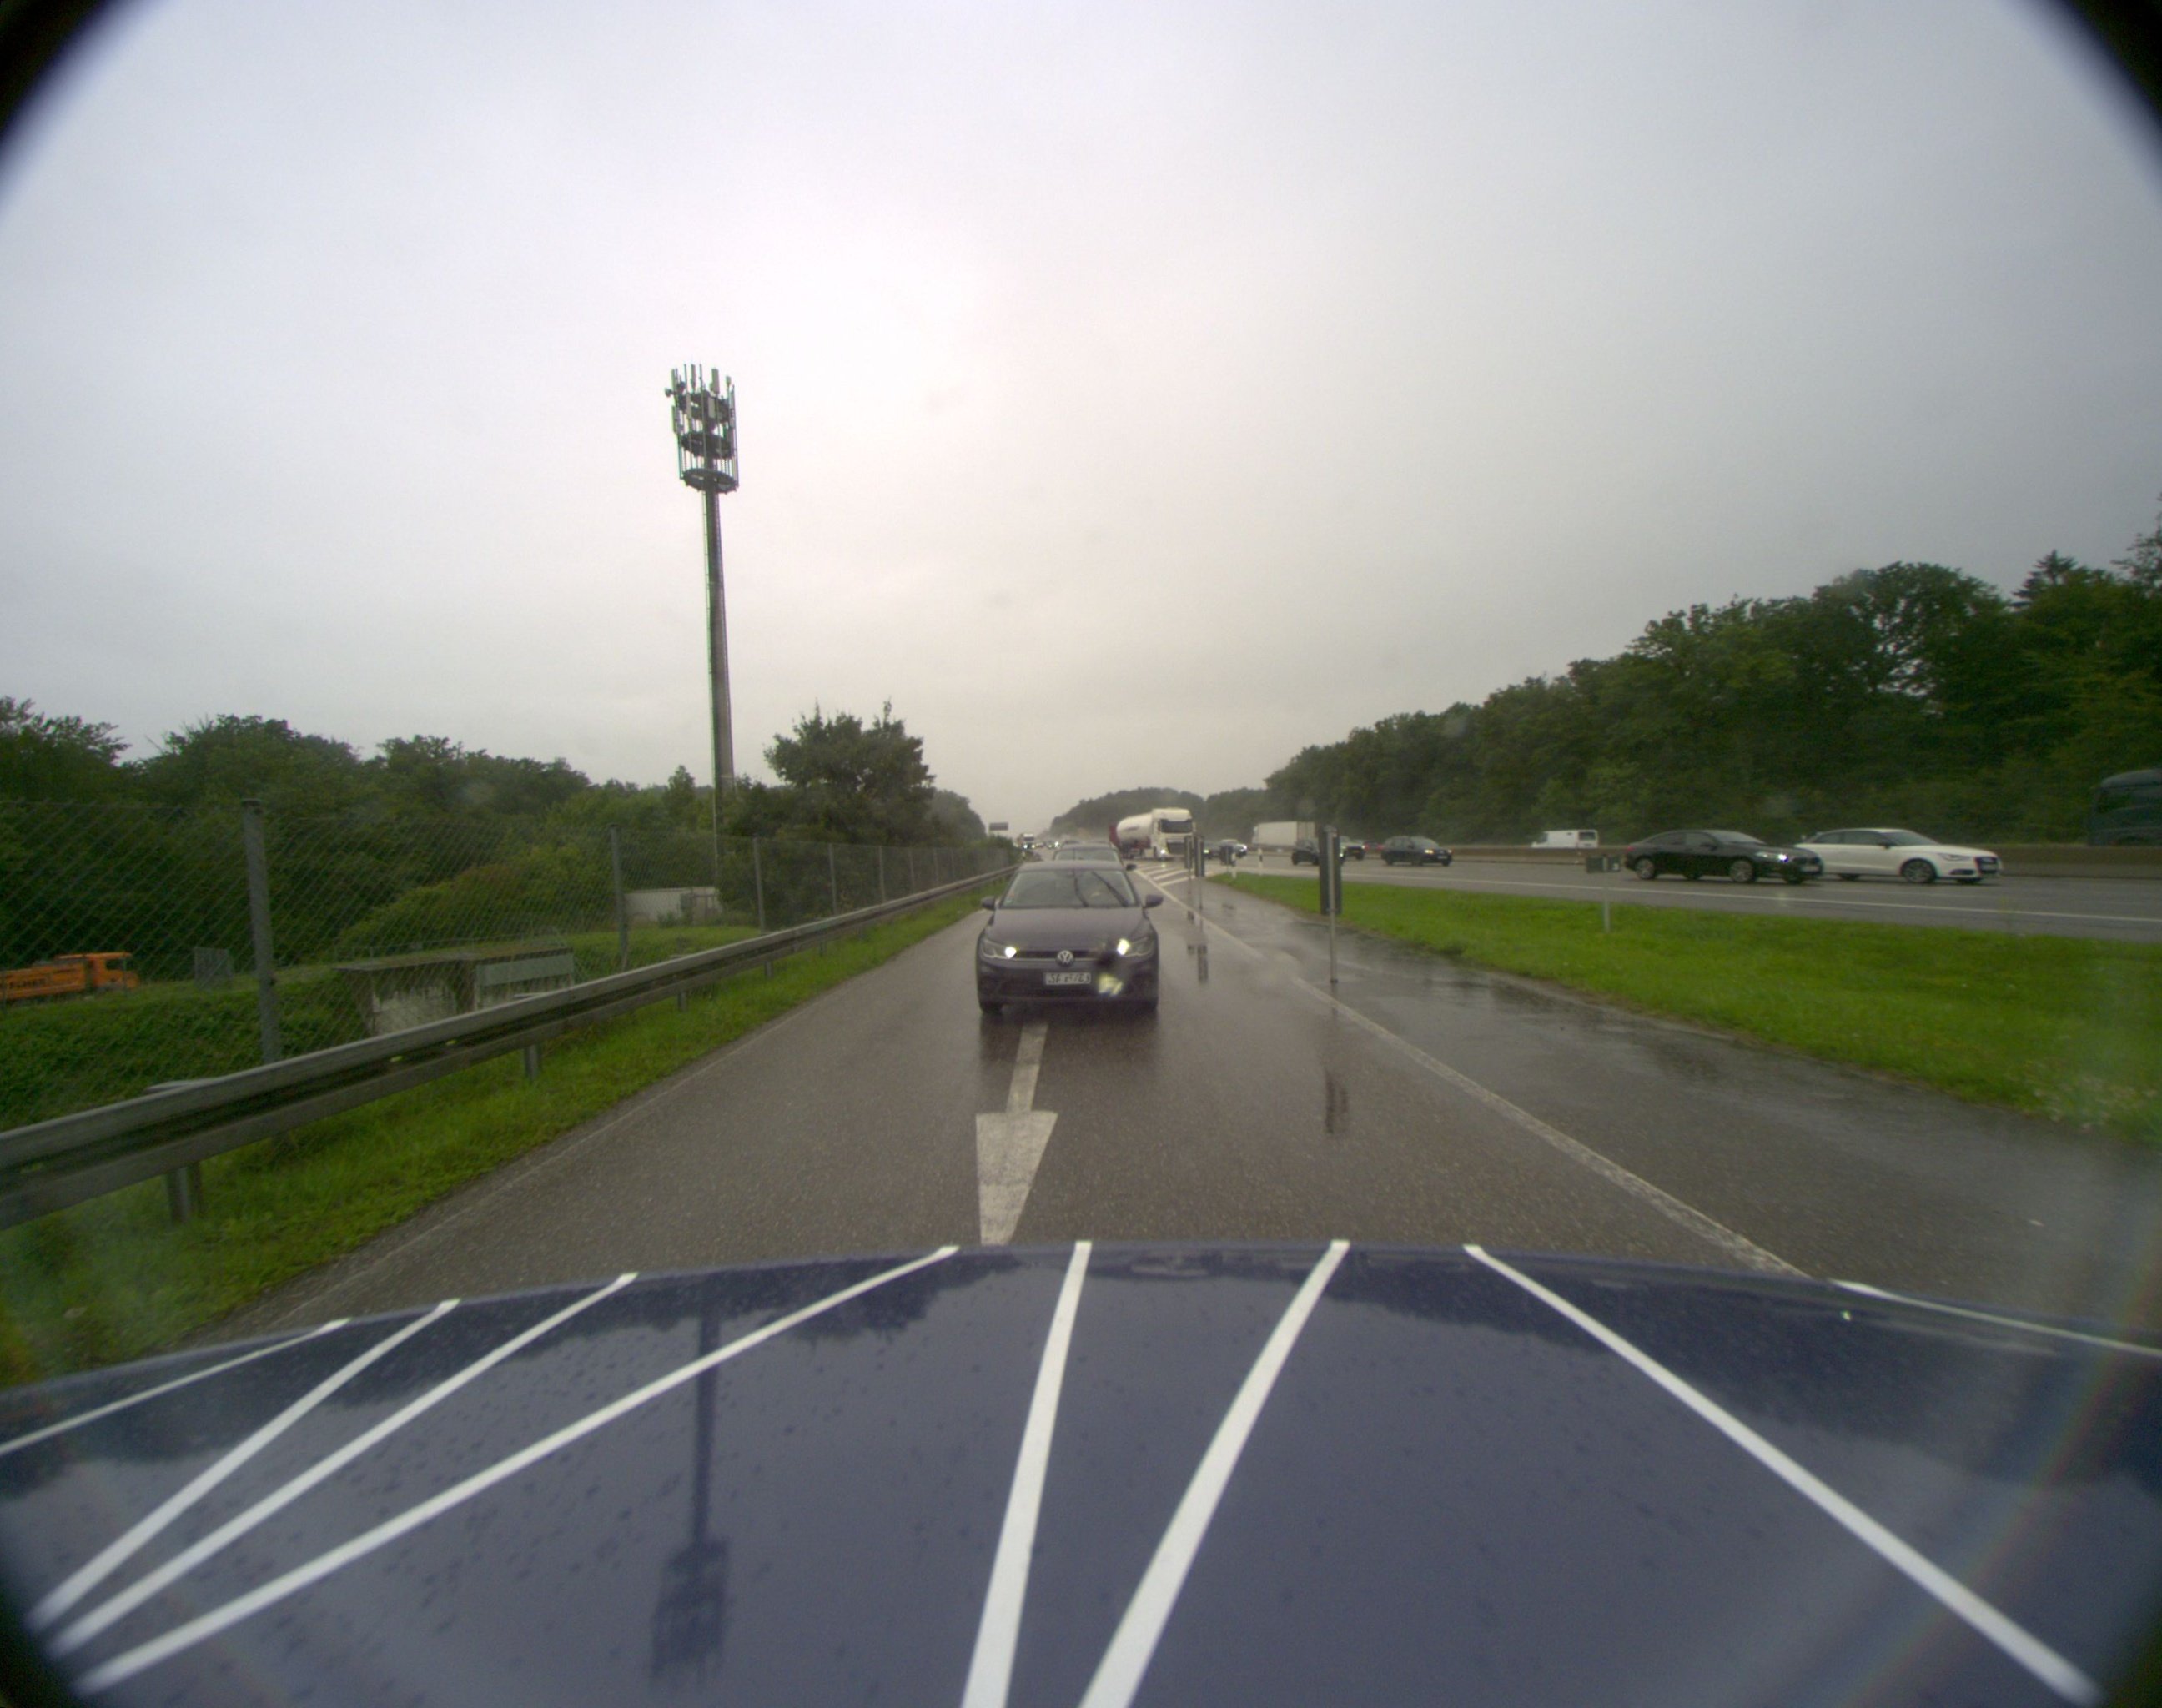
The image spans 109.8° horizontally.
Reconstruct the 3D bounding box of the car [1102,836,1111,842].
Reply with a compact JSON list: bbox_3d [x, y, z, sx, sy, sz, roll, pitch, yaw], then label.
[{"bbox_3d":[7.241,-4.155,213.342,1.745,1.726,3.846,-3,1,-9],"label":"car"}]

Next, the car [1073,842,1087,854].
[{"bbox_3d":[-0.216,-1.158,137.290,1.927,1.852,3.996,-6,3,-5],"label":"car"}]

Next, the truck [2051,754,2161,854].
[{"bbox_3d":[41.892,-1.957,28.712,3.052,3.725,5.639,-3,1,-11],"label":"truck"}]

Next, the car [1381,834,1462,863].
[{"bbox_3d":[17.640,-0.285,39.574,1.824,1.406,4.120,-1,0,-10],"label":"car"}]

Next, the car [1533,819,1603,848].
[{"bbox_3d":[37.181,-1.586,58.117,2.000,2.002,4.478,-4,2,-9],"label":"car"}]

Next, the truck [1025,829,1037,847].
[{"bbox_3d":[-12.312,-3.913,186.869,2.597,4.121,5.228,-4,1,-3],"label":"truck"}]

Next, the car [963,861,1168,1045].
[{"bbox_3d":[-0.150,0.852,8.486,1.670,1.394,4.260,-2,1,-1],"label":"car"}]

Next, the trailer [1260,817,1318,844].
[{"bbox_3d":[29.143,-3.187,107.382,2.657,3.477,13.473,-2,1,-8],"label":"trailer"}]

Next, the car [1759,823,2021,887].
[{"bbox_3d":[21.244,-0.024,20.285,1.886,1.472,4.498,-1,1,-9],"label":"car"}]

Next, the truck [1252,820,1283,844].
[{"bbox_3d":[28.099,-3.268,114.718,2.655,3.432,5.596,-2,1,-8],"label":"truck"}]

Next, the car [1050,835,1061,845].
[{"bbox_3d":[-5.790,-3.272,172.432,1.918,2.003,3.996,-7,4,-6],"label":"car"}]

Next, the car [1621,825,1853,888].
[{"bbox_3d":[17.366,0.012,20.463,1.887,1.472,4.497,-1,1,-13],"label":"car"}]

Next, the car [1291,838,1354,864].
[{"bbox_3d":[13.206,-0.184,41.763,1.824,1.364,3.997,-1,1,-6],"label":"car"}]

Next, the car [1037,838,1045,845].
[{"bbox_3d":[-10.814,-3.407,205.721,1.775,1.668,3.996,-4,2,-7],"label":"car"}]

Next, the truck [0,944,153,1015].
[{"bbox_3d":[-50.688,6.206,36.230,2.834,2.646,8.261,-7,0,-5],"label":"truck"}]

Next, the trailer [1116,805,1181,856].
[{"bbox_3d":[5.545,-1.903,64.686,2.771,4.003,11.030,-1,1,-10],"label":"trailer"}]

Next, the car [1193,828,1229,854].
[{"bbox_3d":[10.368,-1.018,61.020,1.766,1.893,3.997,-3,1,-6],"label":"car"}]

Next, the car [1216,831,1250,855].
[{"bbox_3d":[13.413,-0.976,67.348,1.862,2.002,3.997,-1,1,-6],"label":"car"}]

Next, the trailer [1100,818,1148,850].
[{"bbox_3d":[5.108,-2.482,95.203,2.692,3.485,15.110,-5,2,-9],"label":"trailer"}]

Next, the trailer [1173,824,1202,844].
[{"bbox_3d":[23.068,-4.378,164.721,3.101,4.025,9.155,-6,3,-10],"label":"trailer"}]

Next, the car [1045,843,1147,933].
[{"bbox_3d":[0.317,0.619,16.496,1.810,1.532,3.999,-5,1,1],"label":"car"}]

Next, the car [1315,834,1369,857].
[{"bbox_3d":[18.878,-0.623,55.144,1.824,1.659,4.400,0,1,-10],"label":"car"}]

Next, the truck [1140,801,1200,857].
[{"bbox_3d":[6.689,-1.823,58.176,2.759,3.985,6.501,-2,1,-10],"label":"truck"}]

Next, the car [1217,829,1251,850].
[{"bbox_3d":[15.358,-1.438,76.617,2.000,2.002,3.996,-2,1,-10],"label":"car"}]

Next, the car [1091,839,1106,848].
[{"bbox_3d":[3.107,-1.893,138.260,1.789,1.550,4.094,-1,-1,-13],"label":"car"}]
